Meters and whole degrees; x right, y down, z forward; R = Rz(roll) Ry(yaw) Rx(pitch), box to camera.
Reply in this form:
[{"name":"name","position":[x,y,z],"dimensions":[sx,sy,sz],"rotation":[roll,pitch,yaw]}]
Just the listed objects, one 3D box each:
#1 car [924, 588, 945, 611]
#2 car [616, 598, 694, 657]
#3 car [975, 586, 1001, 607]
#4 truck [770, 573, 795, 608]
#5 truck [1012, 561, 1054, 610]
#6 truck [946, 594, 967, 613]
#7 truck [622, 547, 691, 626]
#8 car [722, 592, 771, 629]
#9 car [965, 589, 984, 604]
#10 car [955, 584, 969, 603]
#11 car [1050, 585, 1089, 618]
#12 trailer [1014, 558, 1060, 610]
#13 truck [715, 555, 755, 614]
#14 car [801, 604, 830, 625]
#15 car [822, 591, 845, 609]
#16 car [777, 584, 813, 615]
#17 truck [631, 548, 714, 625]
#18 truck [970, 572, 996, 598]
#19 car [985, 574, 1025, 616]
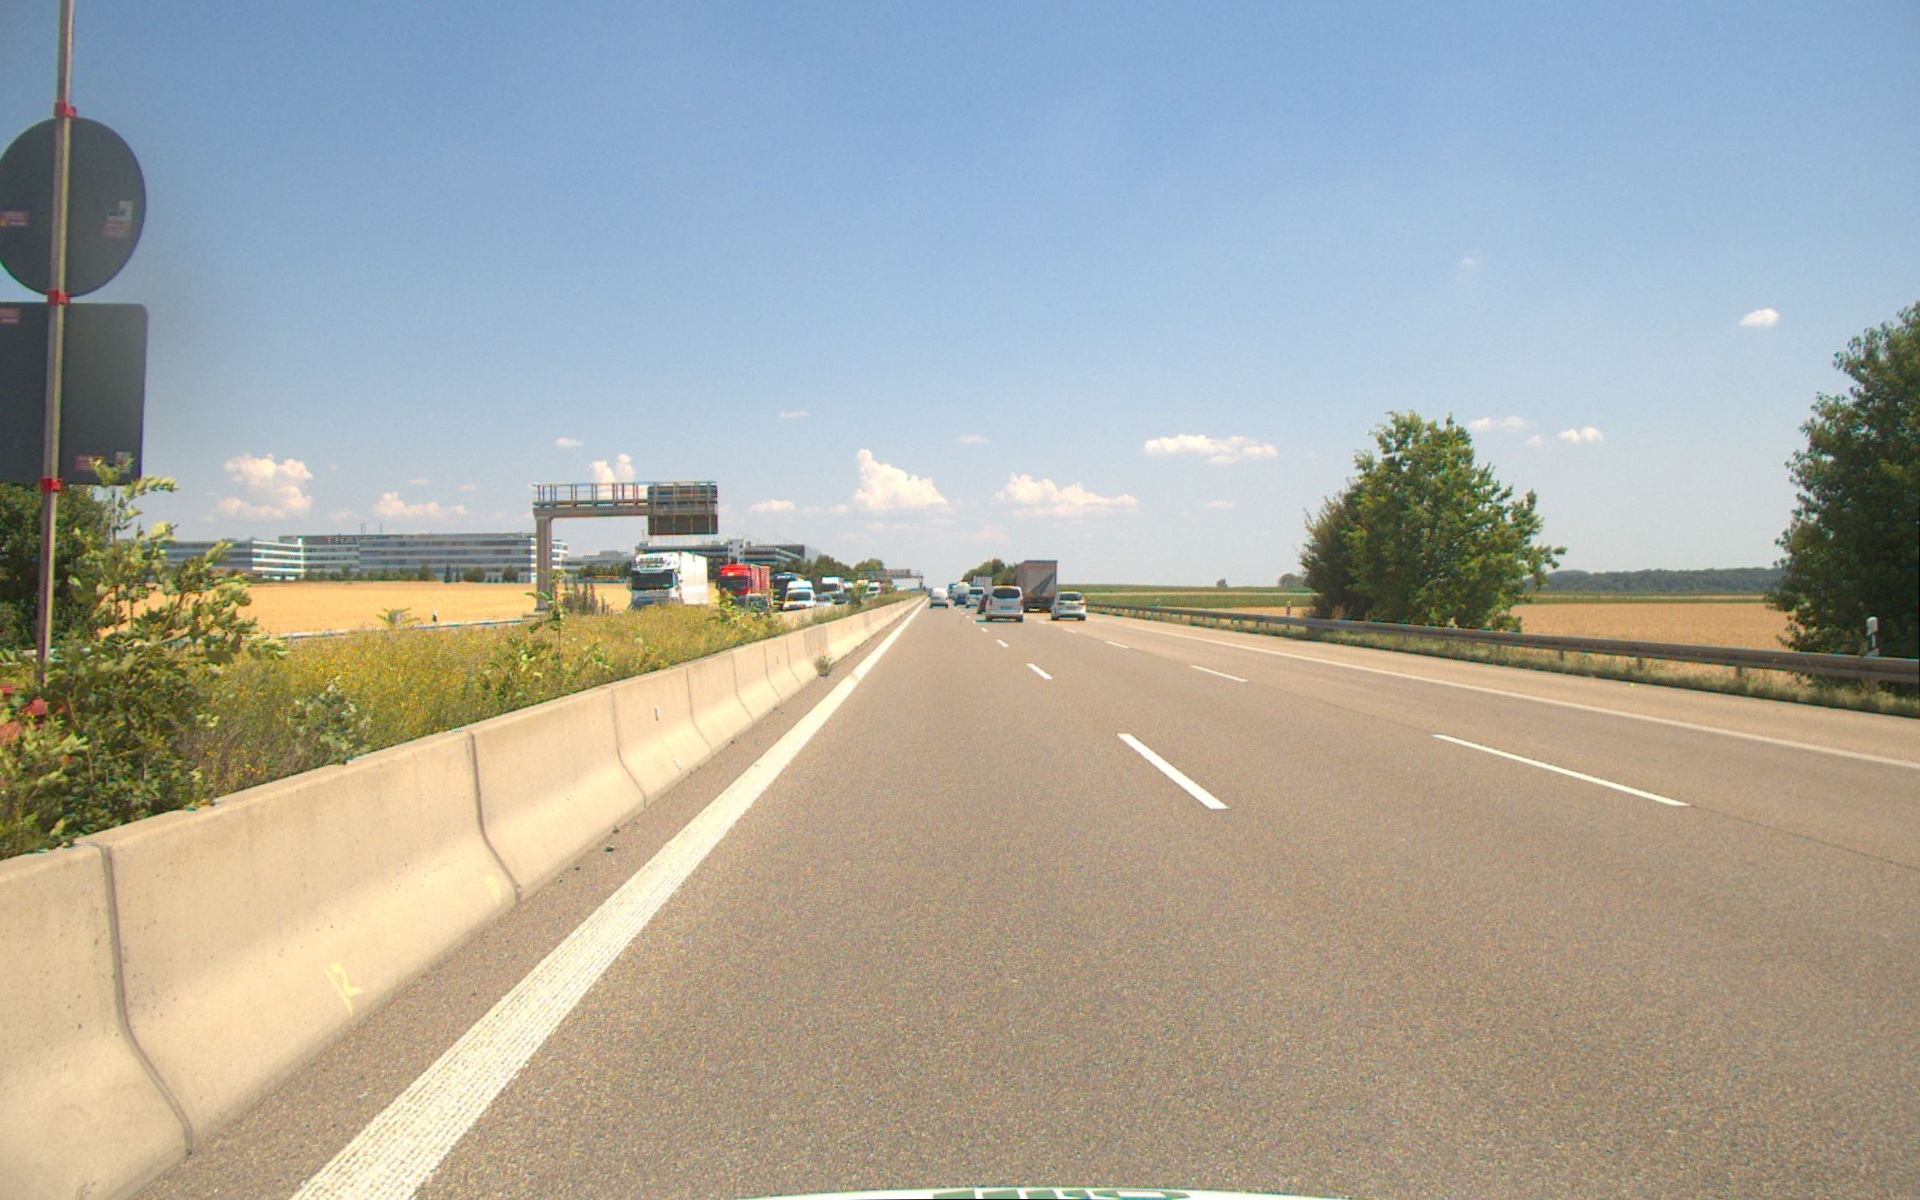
[{"name":"car","position":[-2.390,-0.040,156.561],"dimensions":[1.953,2.049,3.999],"rotation":[0,-1,-1]},{"name":"car","position":[-8.254,0.719,44.976],"dimensions":[1.508,1.513,3.772],"rotation":[0,0,-2]},{"name":"car","position":[1.996,-0.238,118.116],"dimensions":[1.737,1.473,3.999],"rotation":[0,-1,-1]},{"name":"truck","position":[-18.643,-1.000,173.613],"dimensions":[2.067,3.663,7.118],"rotation":[0,0,-2]},{"name":"truck","position":[6.134,-1.217,139.379],"dimensions":[3.204,4.037,4.911],"rotation":[0,-1,-1]},{"name":"truck","position":[-0.405,0.334,183.473],"dimensions":[2.167,2.049,4.970],"rotation":[-1,0,-2]},{"name":"truck","position":[-17.003,-0.762,93.006],"dimensions":[2.890,4.230,5.470],"rotation":[-2,0,-1]},{"name":"car","position":[-9.062,0.429,70.362],"dimensions":[1.639,1.513,4.396],"rotation":[0,0,-2]},{"name":"car","position":[1.445,-0.351,163.170],"dimensions":[1.737,1.473,3.999],"rotation":[0,-1,-1]},{"name":"car","position":[0.257,-0.787,216.894],"dimensions":[1.737,2.434,3.999],"rotation":[0,-1,-1]},{"name":"car","position":[6.310,0.096,95.639],"dimensions":[1.953,1.825,3.999],"rotation":[0,-1,-1]},{"name":"trailer","position":[6.199,-1.271,135.108],"dimensions":[3.211,4.037,9.110],"rotation":[0,-1,-1]},{"name":"truck","position":[-18.286,-1.243,134.773],"dimensions":[2.720,4.678,4.722],"rotation":[0,0,-2]},{"name":"car","position":[-10.130,0.999,115.882],"dimensions":[1.779,1.374,3.772],"rotation":[0,0,-2]},{"name":"car","position":[-10.229,-0.013,133.696],"dimensions":[1.683,1.374,3.772],"rotation":[0,0,-2]},{"name":"car","position":[-9.745,-0.036,98.114],"dimensions":[1.779,1.784,4.991],"rotation":[0,0,-2]},{"name":"truck","position":[-17.160,-0.813,99.549],"dimensions":[2.890,4.230,12.863],"rotation":[-2,0,-1]},{"name":"truck","position":[3.527,-2.287,258.295],"dimensions":[3.738,3.973,9.578],"rotation":[-1,0,-1]},{"name":"car","position":[2.368,-0.226,87.935],"dimensions":[1.953,2.157,3.999],"rotation":[0,-1,-1]}]
